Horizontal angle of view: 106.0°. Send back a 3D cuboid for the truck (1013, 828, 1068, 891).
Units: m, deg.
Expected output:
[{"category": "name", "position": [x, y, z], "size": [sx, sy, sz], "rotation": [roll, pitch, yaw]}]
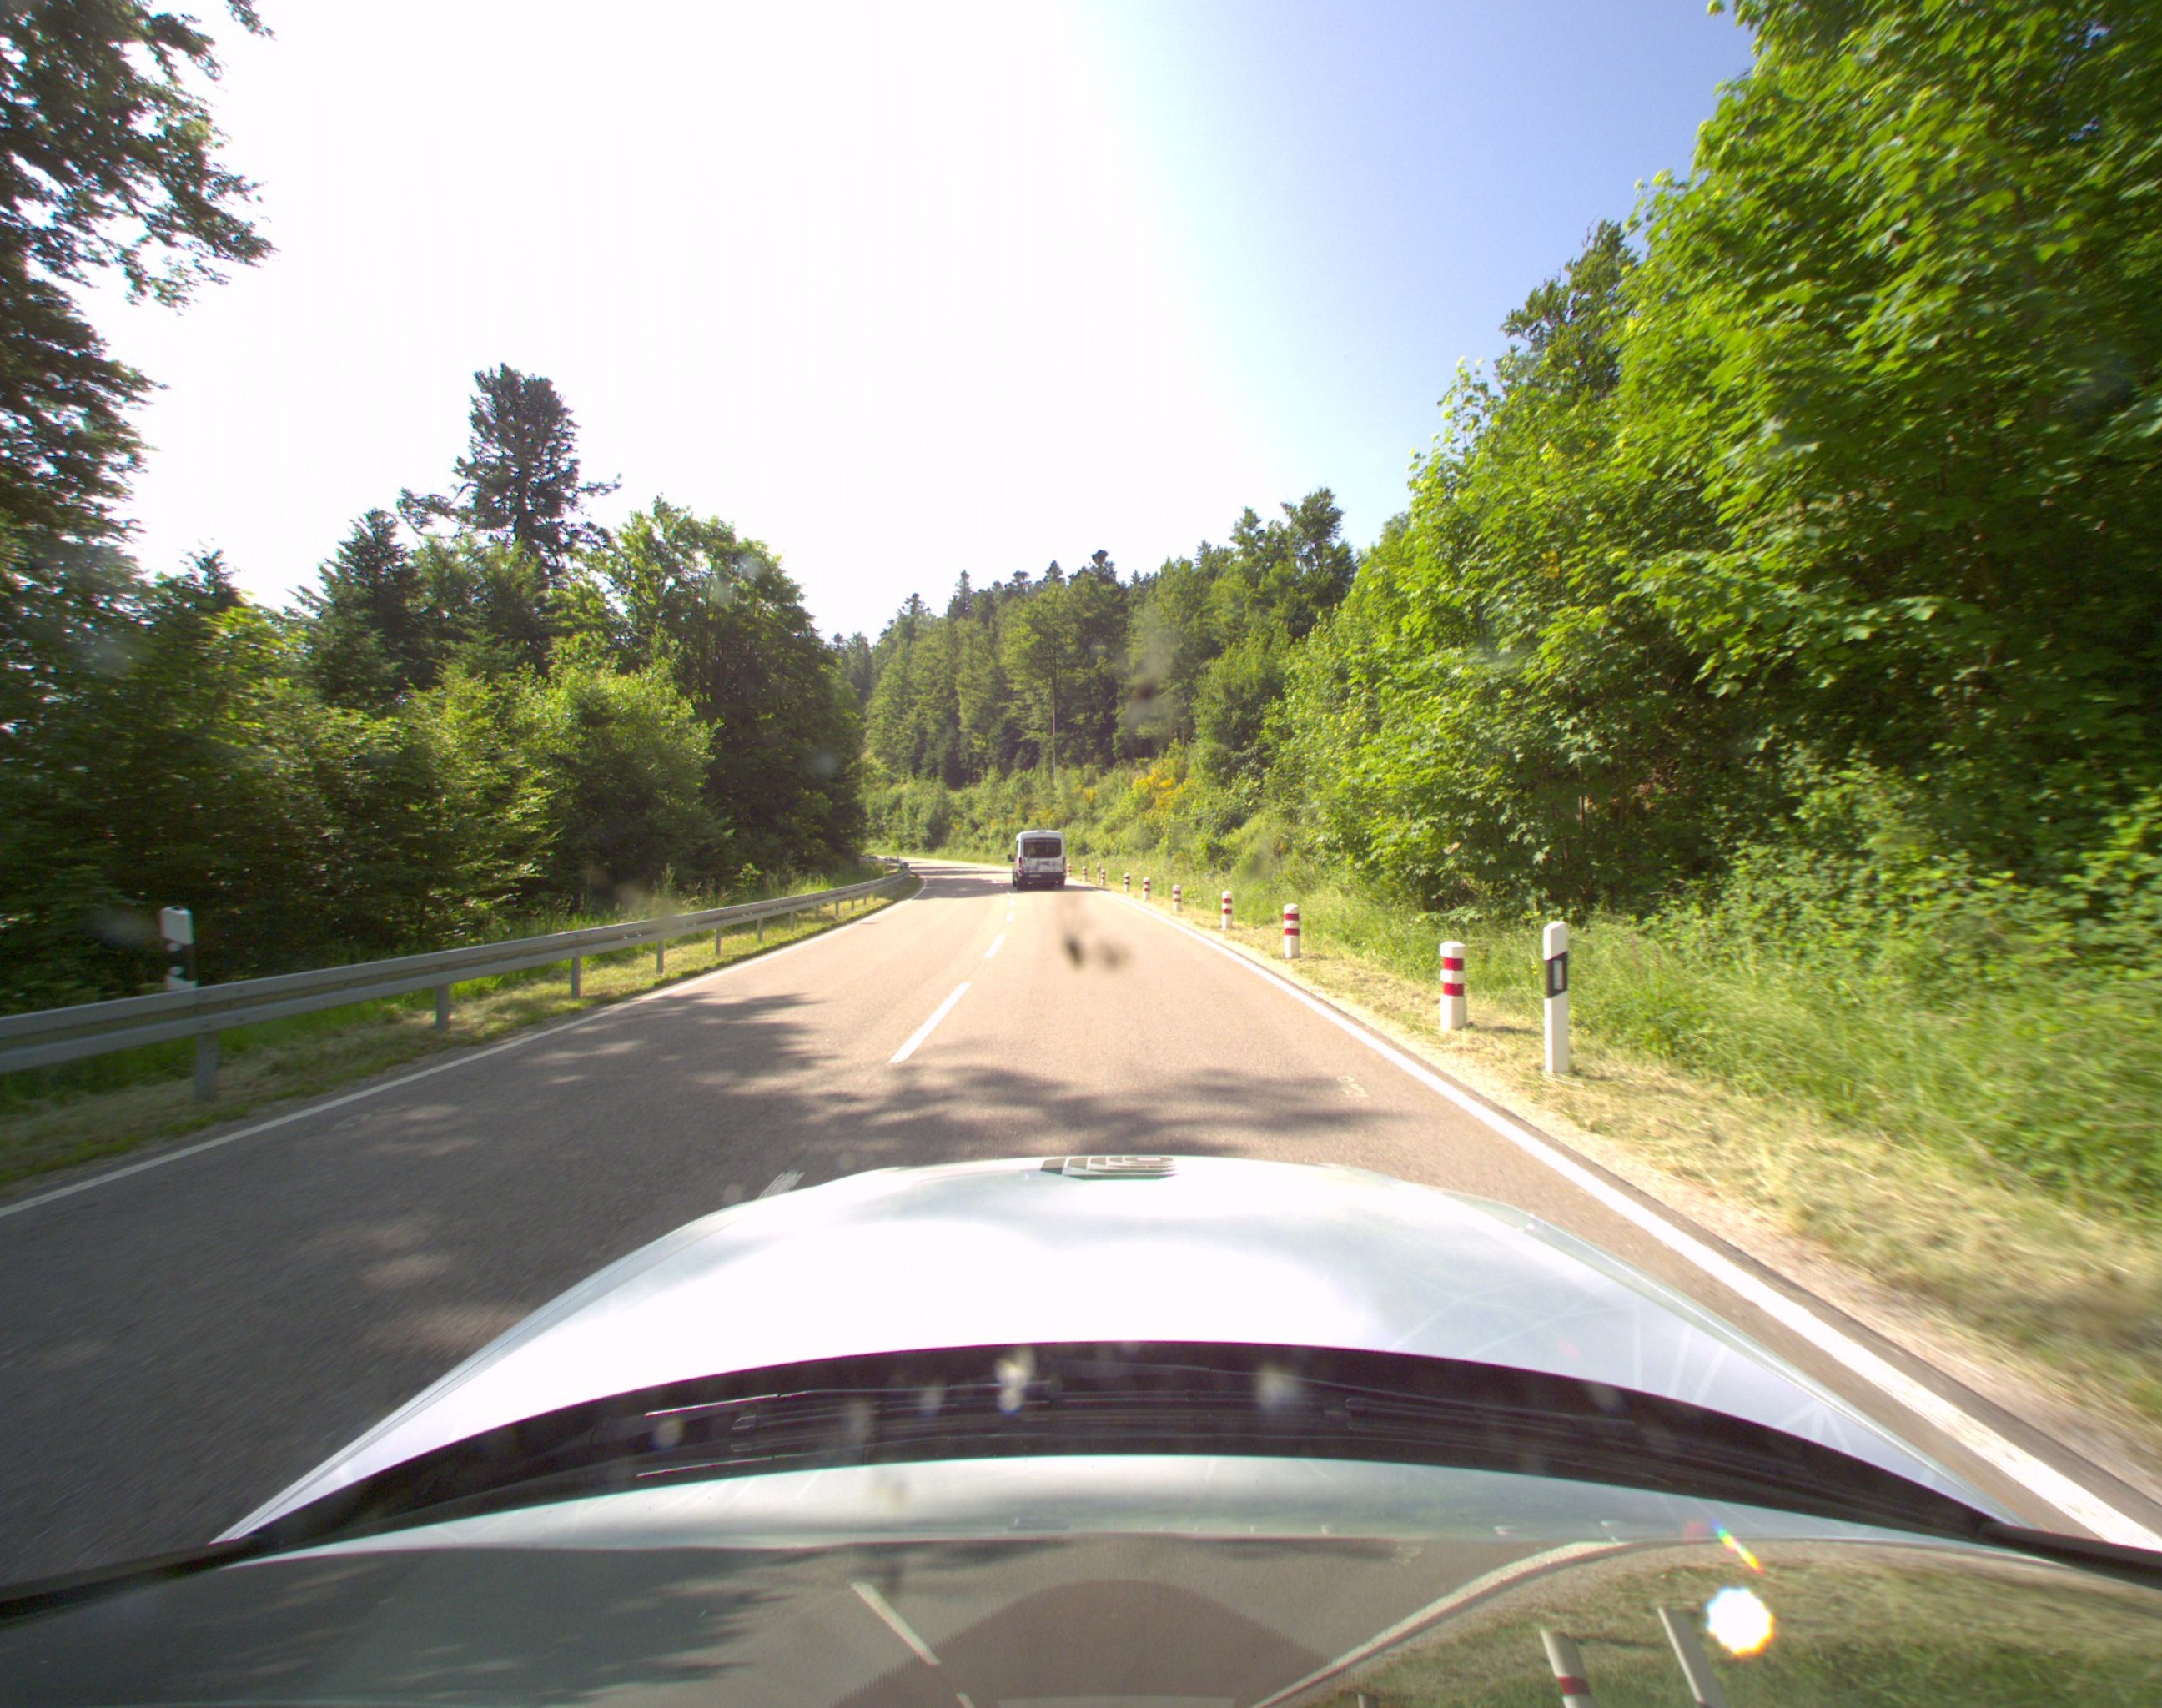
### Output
[{"category": "truck", "position": [-1.866, 0.193, 35.768], "size": [2.113, 2.498, 5.348], "rotation": [-1, 0, -6]}]
